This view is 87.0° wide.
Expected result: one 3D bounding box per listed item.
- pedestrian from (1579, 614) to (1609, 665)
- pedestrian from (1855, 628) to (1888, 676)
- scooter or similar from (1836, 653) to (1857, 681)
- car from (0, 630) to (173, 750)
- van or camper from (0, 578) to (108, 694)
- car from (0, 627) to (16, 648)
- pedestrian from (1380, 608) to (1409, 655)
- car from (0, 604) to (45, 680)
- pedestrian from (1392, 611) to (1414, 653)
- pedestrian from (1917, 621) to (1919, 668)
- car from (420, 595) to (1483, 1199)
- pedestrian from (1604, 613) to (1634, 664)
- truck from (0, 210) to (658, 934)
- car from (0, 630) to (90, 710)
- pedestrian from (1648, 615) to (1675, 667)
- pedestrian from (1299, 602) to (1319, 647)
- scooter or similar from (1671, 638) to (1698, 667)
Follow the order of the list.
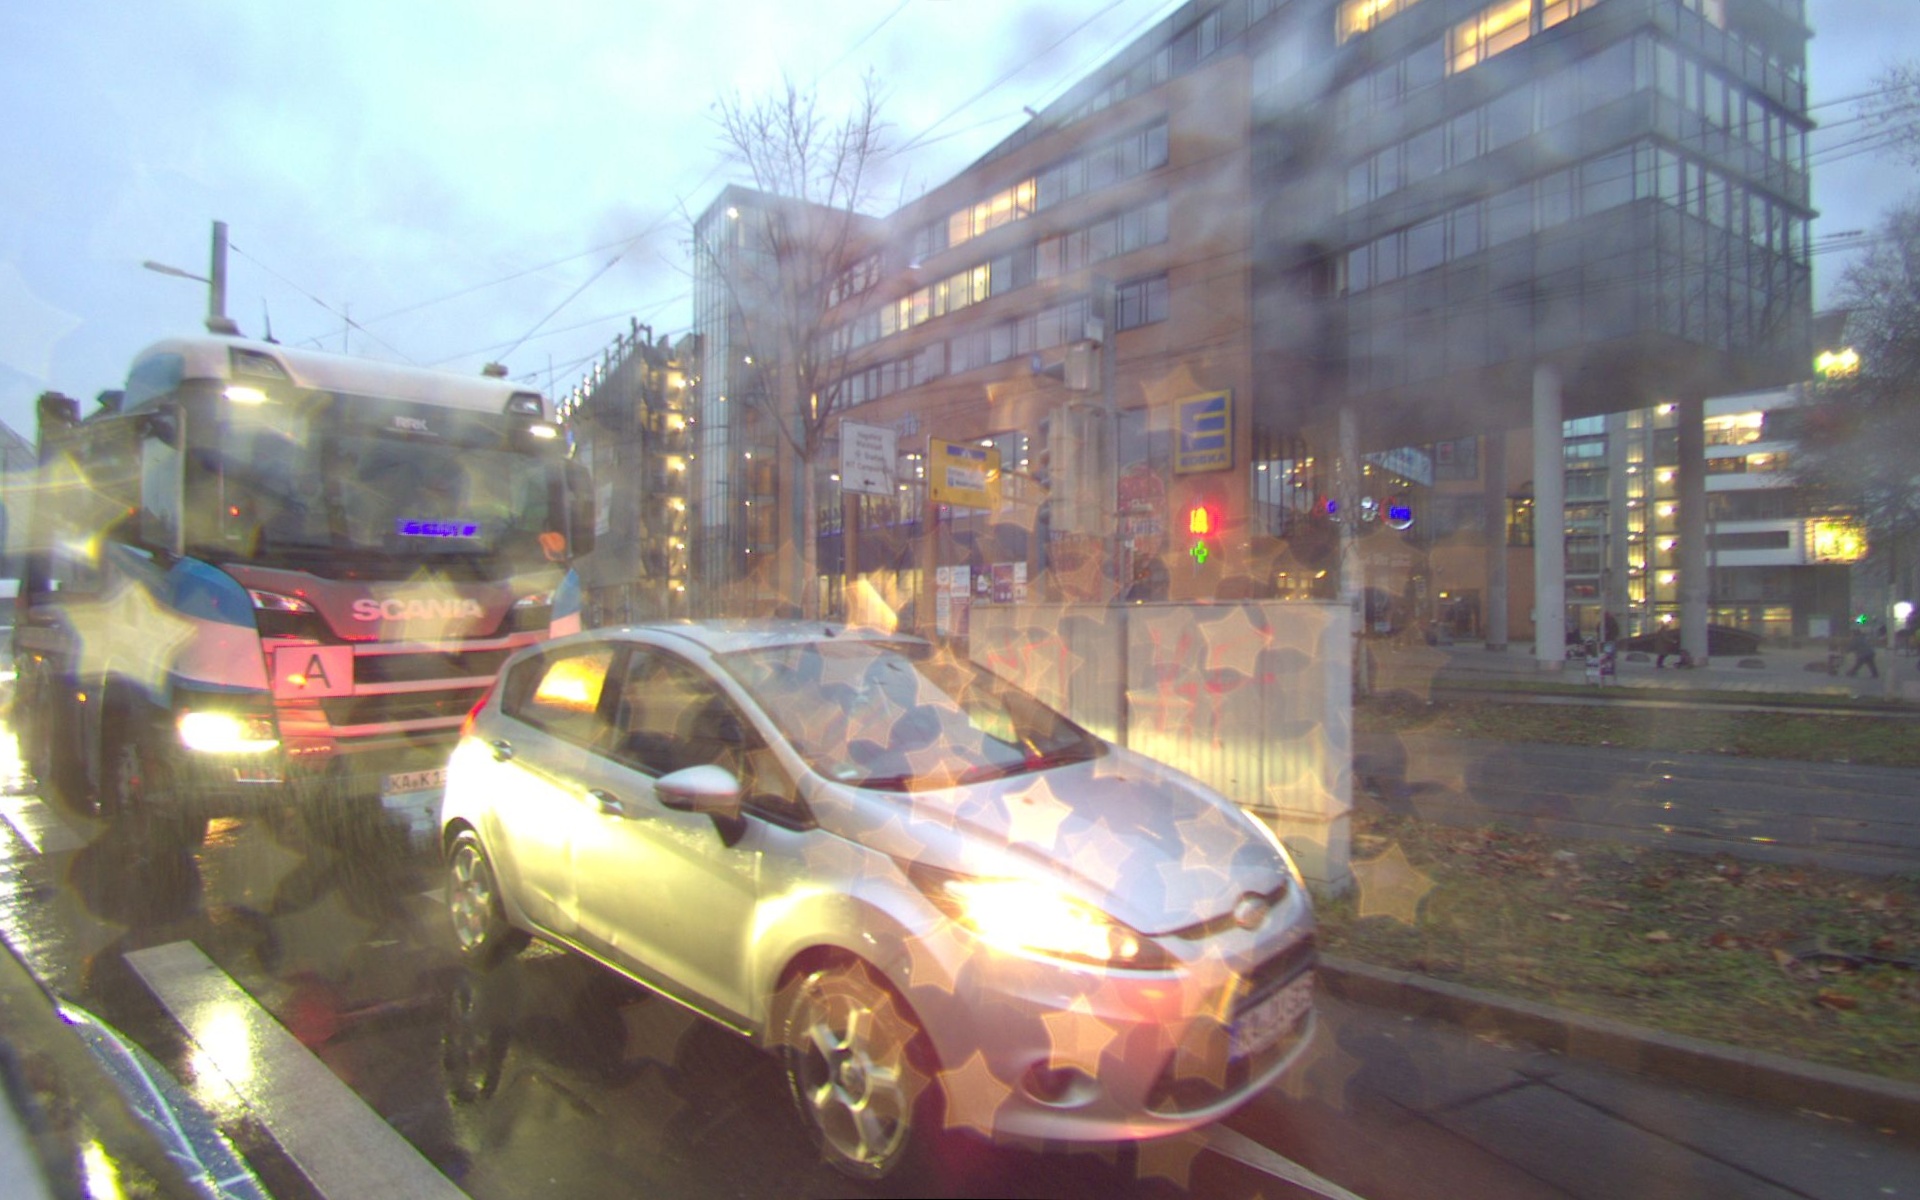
[{"bbox_3d":[23.728,1.464,37.880,0.723,1.878,0.574,1,-2,-13],"label":"pedestrian"},{"bbox_3d":[28.243,1.598,31.366,0.564,1.470,0.685,2,-2,-43],"label":"pedestrian"},{"bbox_3d":[27.843,2.094,31.786,0.545,0.856,0.433,2,-2,-43],"label":"scooter or similar"},{"bbox_3d":[-13.101,1.245,14.906,3.939,1.535,1.613,-3,-3,41],"label":"car"},{"bbox_3d":[-22.821,0.849,24.702,5.894,2.551,2.126,-1,-2,40],"label":"van or camper"},{"bbox_3d":[-81.939,3.124,84.735,3.931,1.783,1.818,1,-2,-30],"label":"car"},{"bbox_3d":[16.415,1.190,38.248,0.782,1.766,0.704,0,-2,-1],"label":"pedestrian"},{"bbox_3d":[-38.536,1.643,40.406,5.807,2.885,2.103,-1,-2,39],"label":"car"},{"bbox_3d":[18.994,1.381,43.392,0.703,1.766,0.564,-1,-2,39],"label":"pedestrian"},{"bbox_3d":[36.659,1.675,38.161,0.807,1.773,0.736,2,-2,-41],"label":"pedestrian"},{"bbox_3d":[-0.391,0.740,3.905,3.998,1.458,1.688,-1,0,41],"label":"car"},{"bbox_3d":[24.828,1.445,38.113,0.723,1.878,0.574,1,-2,-14],"label":"pedestrian"},{"bbox_3d":[-5.939,-0.066,8.632,7.521,3.661,2.810,-1,-2,40],"label":"truck"},{"bbox_3d":[-17.712,1.242,18.967,4.057,1.355,1.735,-2,-2,43],"label":"car"},{"bbox_3d":[24.242,1.417,34.986,0.564,1.787,0.638,2,-3,-43],"label":"pedestrian"},{"bbox_3d":[13.664,0.968,39.599,0.658,1.766,0.534,0,-2,12],"label":"pedestrian"},{"bbox_3d":[24.684,1.798,34.482,0.545,0.968,0.667,2,-2,-43],"label":"scooter or similar"}]
